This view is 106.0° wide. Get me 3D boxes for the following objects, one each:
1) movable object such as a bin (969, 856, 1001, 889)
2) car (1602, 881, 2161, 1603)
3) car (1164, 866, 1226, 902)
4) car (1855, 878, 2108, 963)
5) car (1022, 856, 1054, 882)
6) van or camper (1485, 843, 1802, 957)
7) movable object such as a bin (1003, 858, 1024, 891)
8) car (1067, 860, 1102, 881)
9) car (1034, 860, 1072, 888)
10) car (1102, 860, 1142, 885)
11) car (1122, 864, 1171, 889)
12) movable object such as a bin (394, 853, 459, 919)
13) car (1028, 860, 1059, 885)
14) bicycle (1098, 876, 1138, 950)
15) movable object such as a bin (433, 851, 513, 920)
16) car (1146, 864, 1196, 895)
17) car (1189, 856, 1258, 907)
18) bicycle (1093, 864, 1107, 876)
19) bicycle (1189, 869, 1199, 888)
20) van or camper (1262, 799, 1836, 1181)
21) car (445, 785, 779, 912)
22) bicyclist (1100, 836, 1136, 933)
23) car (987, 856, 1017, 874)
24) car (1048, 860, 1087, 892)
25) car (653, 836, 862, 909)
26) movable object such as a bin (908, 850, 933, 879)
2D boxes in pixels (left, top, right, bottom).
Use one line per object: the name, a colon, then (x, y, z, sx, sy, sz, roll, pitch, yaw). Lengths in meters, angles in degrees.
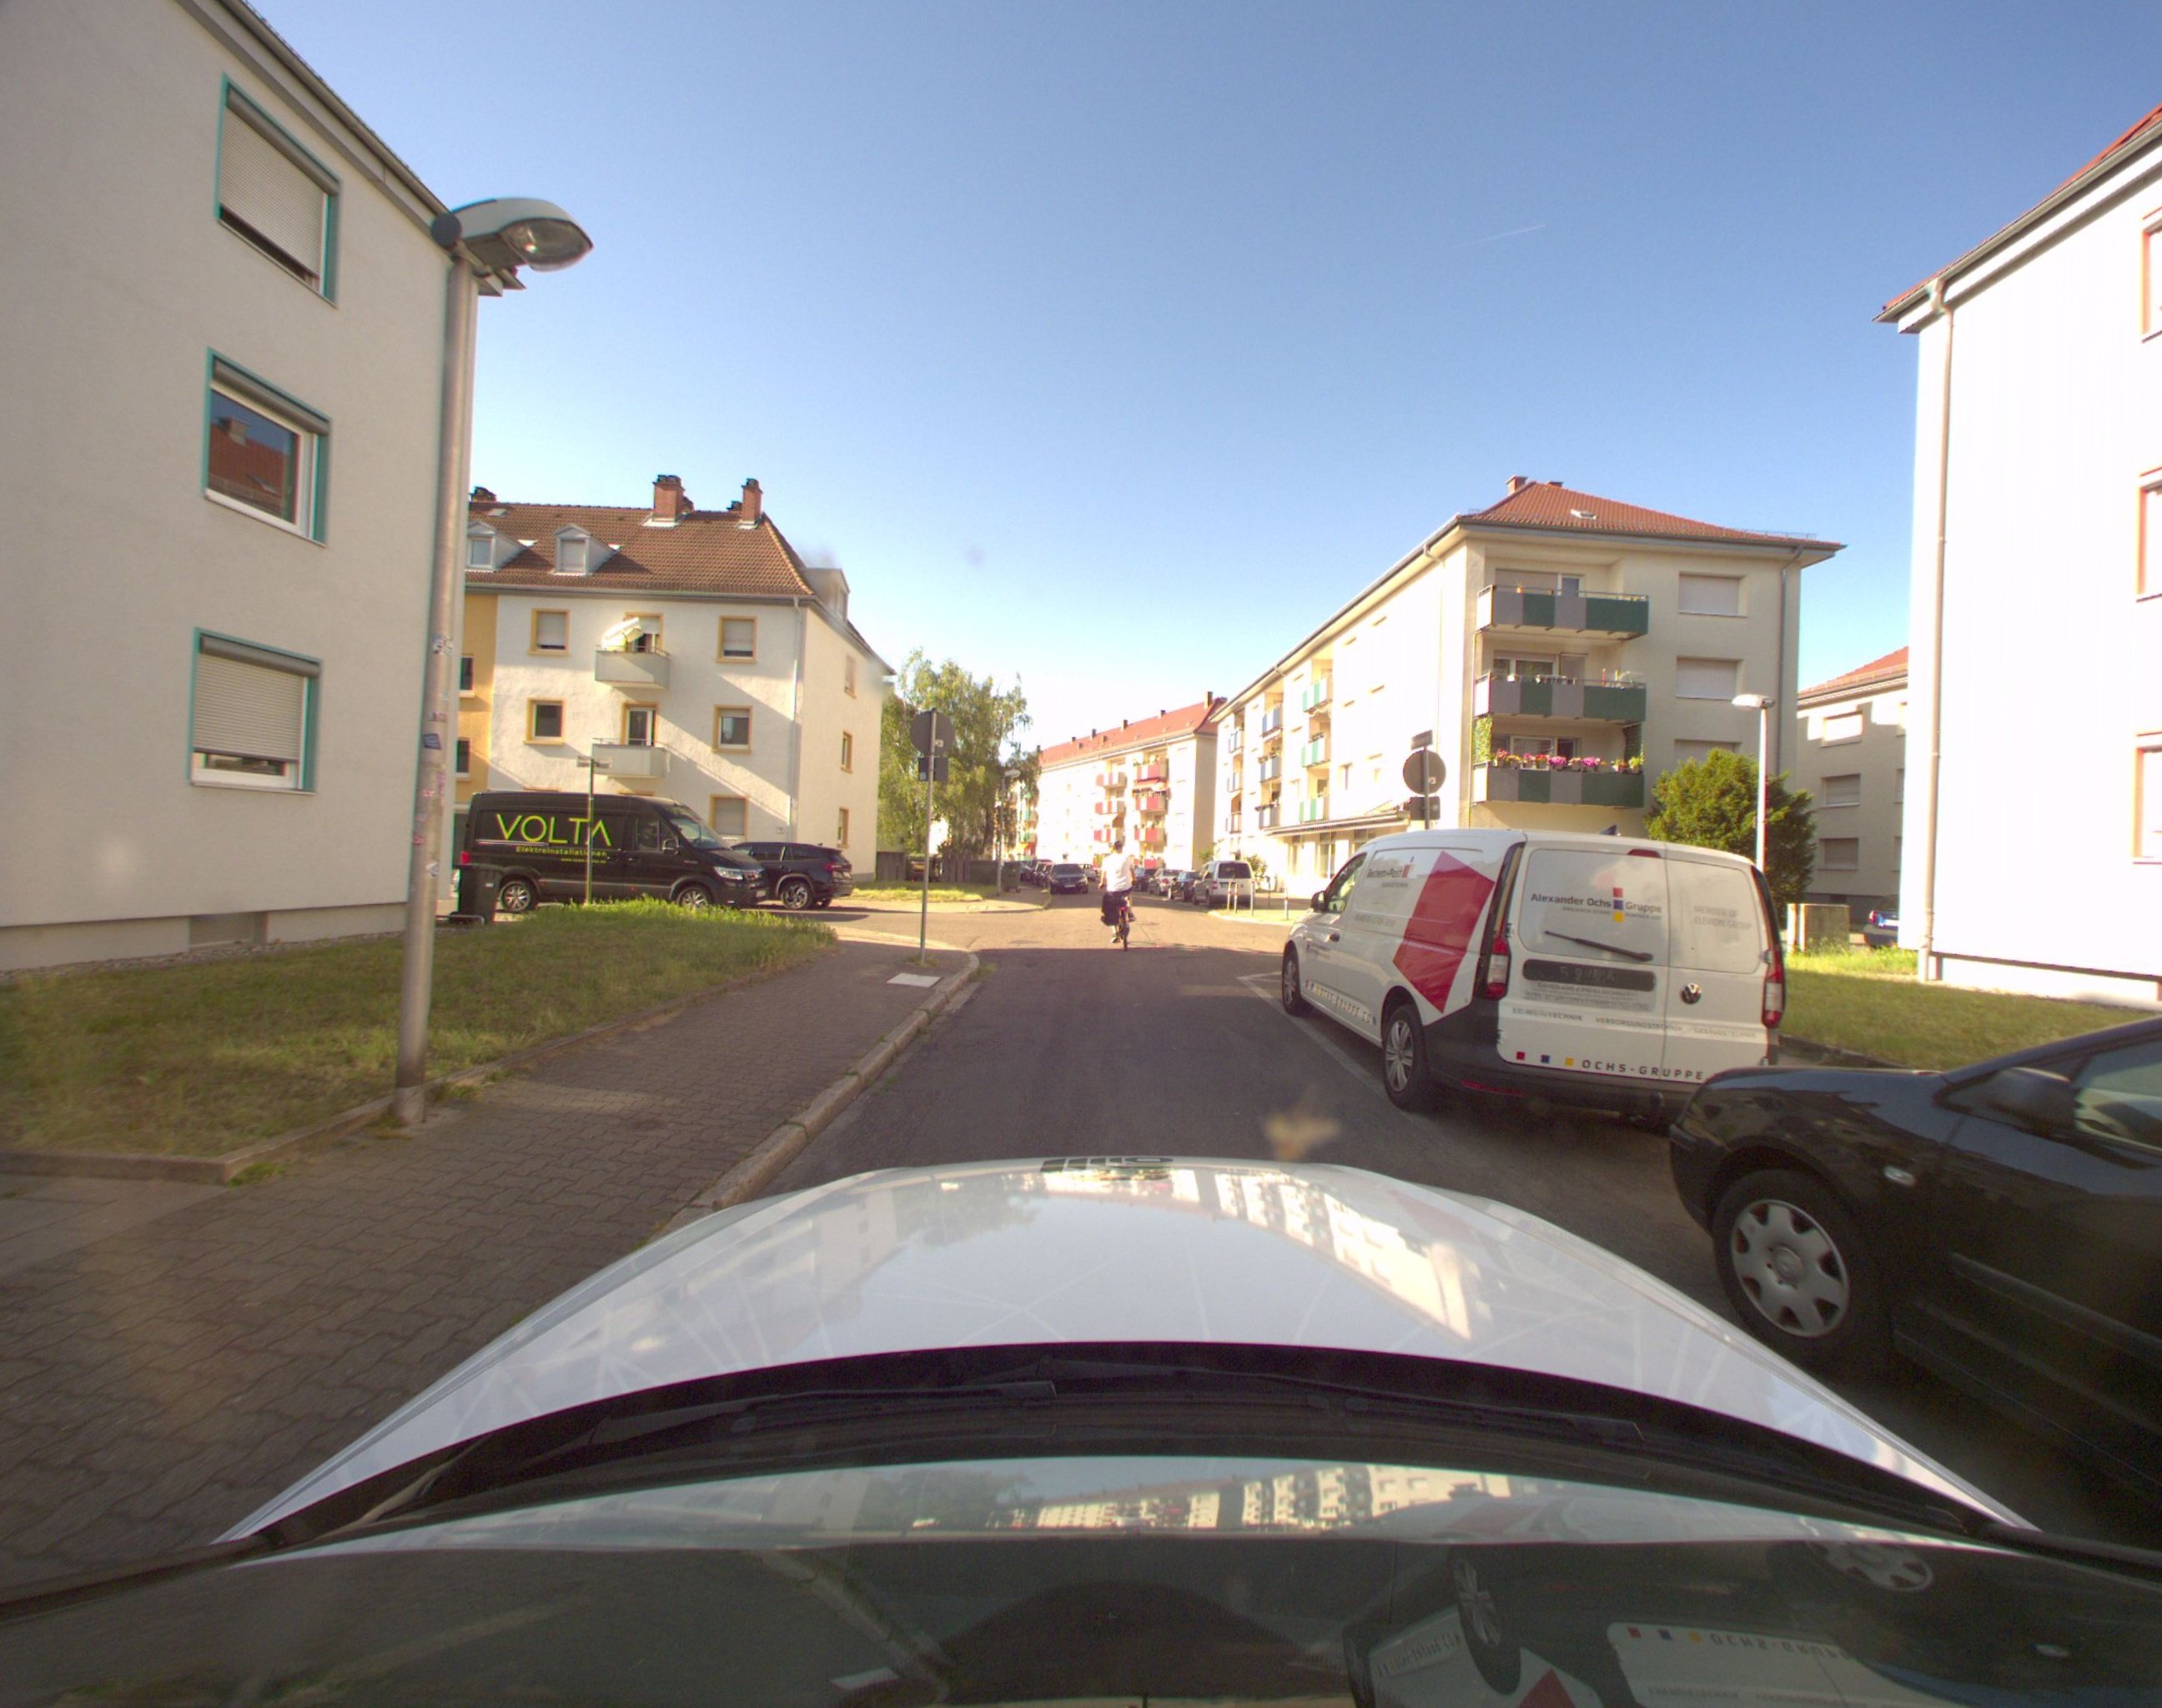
movable object such as a bin: (-4.219, 0.815, 35.914, 1.215, 1.380, 0.768, 3, -1, 3)
car: (3.002, 0.831, 1.555, 1.568, 1.417, 3.786, 1, 0, -1)
car: (5.143, 1.316, 37.329, 1.676, 1.407, 4.535, 2, 0, -7)
car: (18.677, 1.345, 17.006, 3.463, 1.530, 1.680, 2, -1, 0)
car: (-3.013, 1.007, 56.201, 1.556, 1.714, 4.320, -1, 0, -11)
van or camper: (11.484, 0.875, 16.925, 5.104, 2.013, 2.001, 2, 1, 2)
movable object such as a bin: (-2.930, 0.895, 35.649, 0.773, 1.393, 1.416, 2, -1, -1)
car: (0.240, 1.336, 68.514, 1.770, 1.635, 4.017, 0, 1, -18)
car: (-1.593, 1.072, 45.299, 1.677, 1.442, 4.268, -1, 0, -8)
car: (2.776, 1.331, 56.347, 1.695, 1.656, 4.371, 1, -2, -12)
car: (3.923, 1.334, 49.362, 1.695, 1.432, 4.667, 1, -1, -12)
movable object such as a bin: (-9.793, 0.467, 12.195, 0.496, 0.949, 0.532, 2, -1, 0)
car: (-2.336, 1.099, 50.204, 1.554, 1.442, 3.957, -1, 0, -8)
bicycle: (0.636, 0.958, 13.815, 0.624, 1.115, 1.817, 1, 0, 3)
movable object such as a bin: (-9.181, 0.462, 12.319, 0.611, 0.992, 0.714, 3, 0, -1)
car: (4.719, 1.298, 43.383, 1.675, 1.447, 4.715, 2, 0, -5)
car: (5.480, 1.016, 31.791, 1.743, 1.824, 4.126, 0, 0, -4)
bicycle: (1.827, 1.523, 77.778, 0.619, 0.978, 1.883, -1, 2, -21)
bicycle: (7.622, 1.646, 54.827, 0.512, 1.203, 1.762, 0, 0, 2)
van or camper: (2.903, 0.695, 6.494, 1.786, 1.747, 4.735, 6, 0, 1)
car: (-9.835, -0.104, 17.464, 5.923, 2.545, 1.999, 0, 0, -1)
bicyclist: (0.637, 0.492, 13.873, 0.593, 1.578, 0.908, 0, 2, 3)
car: (-6.943, 0.943, 71.165, 1.698, 1.389, 4.132, 2, 0, -17)
car: (-0.724, 1.037, 40.119, 1.675, 1.453, 4.613, -1, 0, -4)
car: (-7.998, 0.476, 20.425, 4.473, 1.664, 1.719, 1, -2, 0)
movable object such as a bin: (-8.124, 0.509, 41.170, 1.058, 1.435, 1.002, 0, 0, -2)
